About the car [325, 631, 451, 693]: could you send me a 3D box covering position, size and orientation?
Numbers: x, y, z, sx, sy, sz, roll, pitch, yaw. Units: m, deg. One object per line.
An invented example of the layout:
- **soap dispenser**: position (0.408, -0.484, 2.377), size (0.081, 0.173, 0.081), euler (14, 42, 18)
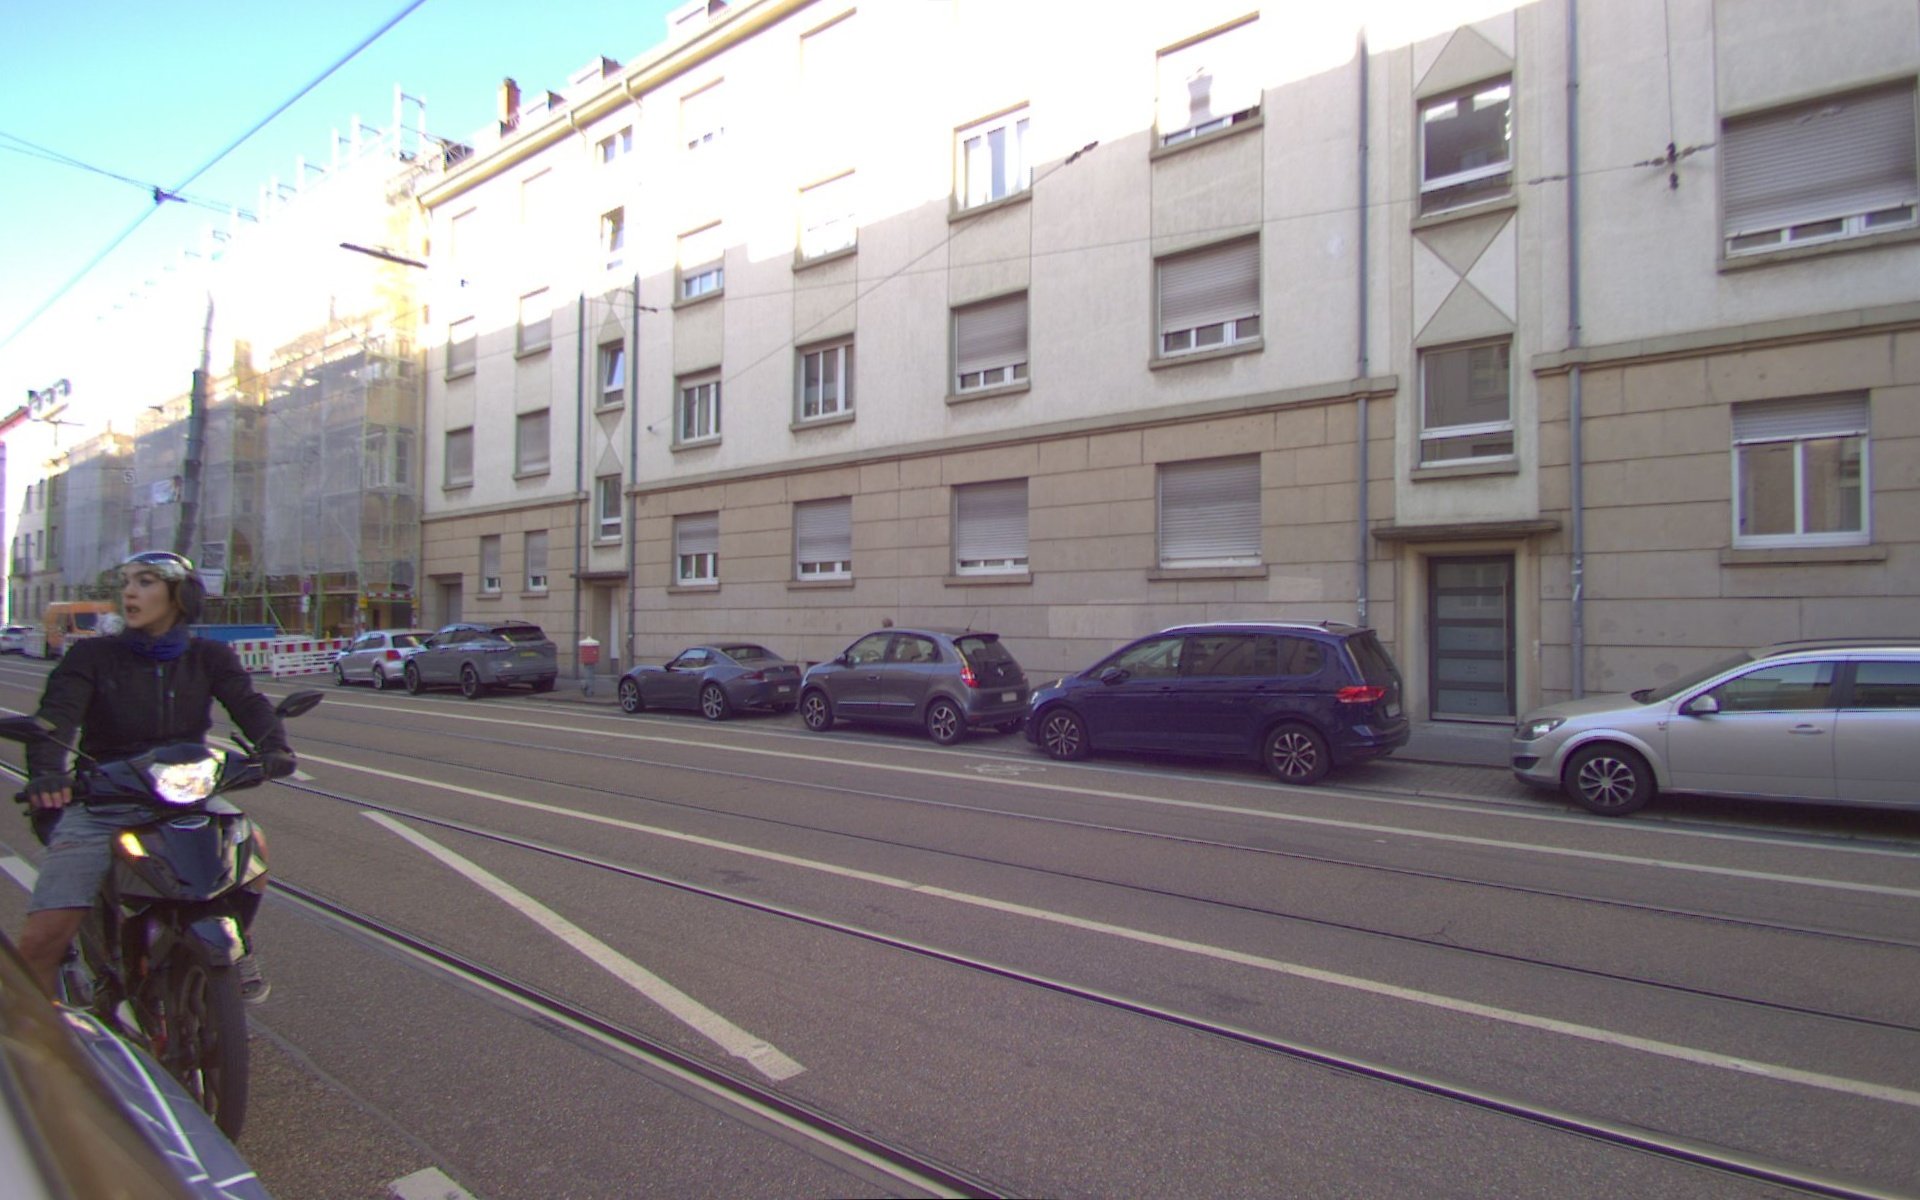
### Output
- **car**: position (-14.387, 1.499, 25.396), size (3.506, 1.423, 1.524), euler (-1, -1, 38)

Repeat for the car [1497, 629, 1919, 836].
- **car**: position (7.124, 1.004, 8.501), size (4.383, 1.489, 1.779), euler (-1, -1, 38)

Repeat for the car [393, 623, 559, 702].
- **car**: position (-10.885, 1.335, 22.659), size (4.201, 1.611, 1.675), euler (-1, -1, 38)

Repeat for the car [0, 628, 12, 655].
- **car**: position (-54.585, 2.327, 56.815), size (3.964, 1.498, 1.662), euler (-2, -1, 42)

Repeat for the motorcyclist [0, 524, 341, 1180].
- **motorcyclist**: position (-2.544, 0.657, 3.159), size (0.899, 1.668, 0.781), euler (-2, -3, 41)

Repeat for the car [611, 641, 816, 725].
- **car**: position (-4.316, 1.367, 17.499), size (3.681, 1.244, 1.502), euler (-1, -1, 38)

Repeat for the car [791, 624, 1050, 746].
- **car**: position (-0.630, 1.134, 14.654), size (3.535, 1.539, 1.659), euler (-1, -1, 38)

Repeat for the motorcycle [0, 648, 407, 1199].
- **motorcycle**: position (-2.641, 0.819, 3.236), size (2.272, 1.302, 0.781), euler (-2, -3, 41)

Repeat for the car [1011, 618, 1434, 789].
- **car**: position (2.891, 1.034, 11.675), size (4.383, 1.611, 1.779), euler (-1, -1, 38)

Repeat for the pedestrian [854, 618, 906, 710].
- **pedestrian**: position (-1.383, 1.095, 17.498), size (0.693, 1.553, 0.563), euler (-2, -3, 39)

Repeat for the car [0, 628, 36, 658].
- **car**: position (-50.069, 2.271, 53.338), size (3.964, 1.498, 1.662), euler (-2, -1, 42)
